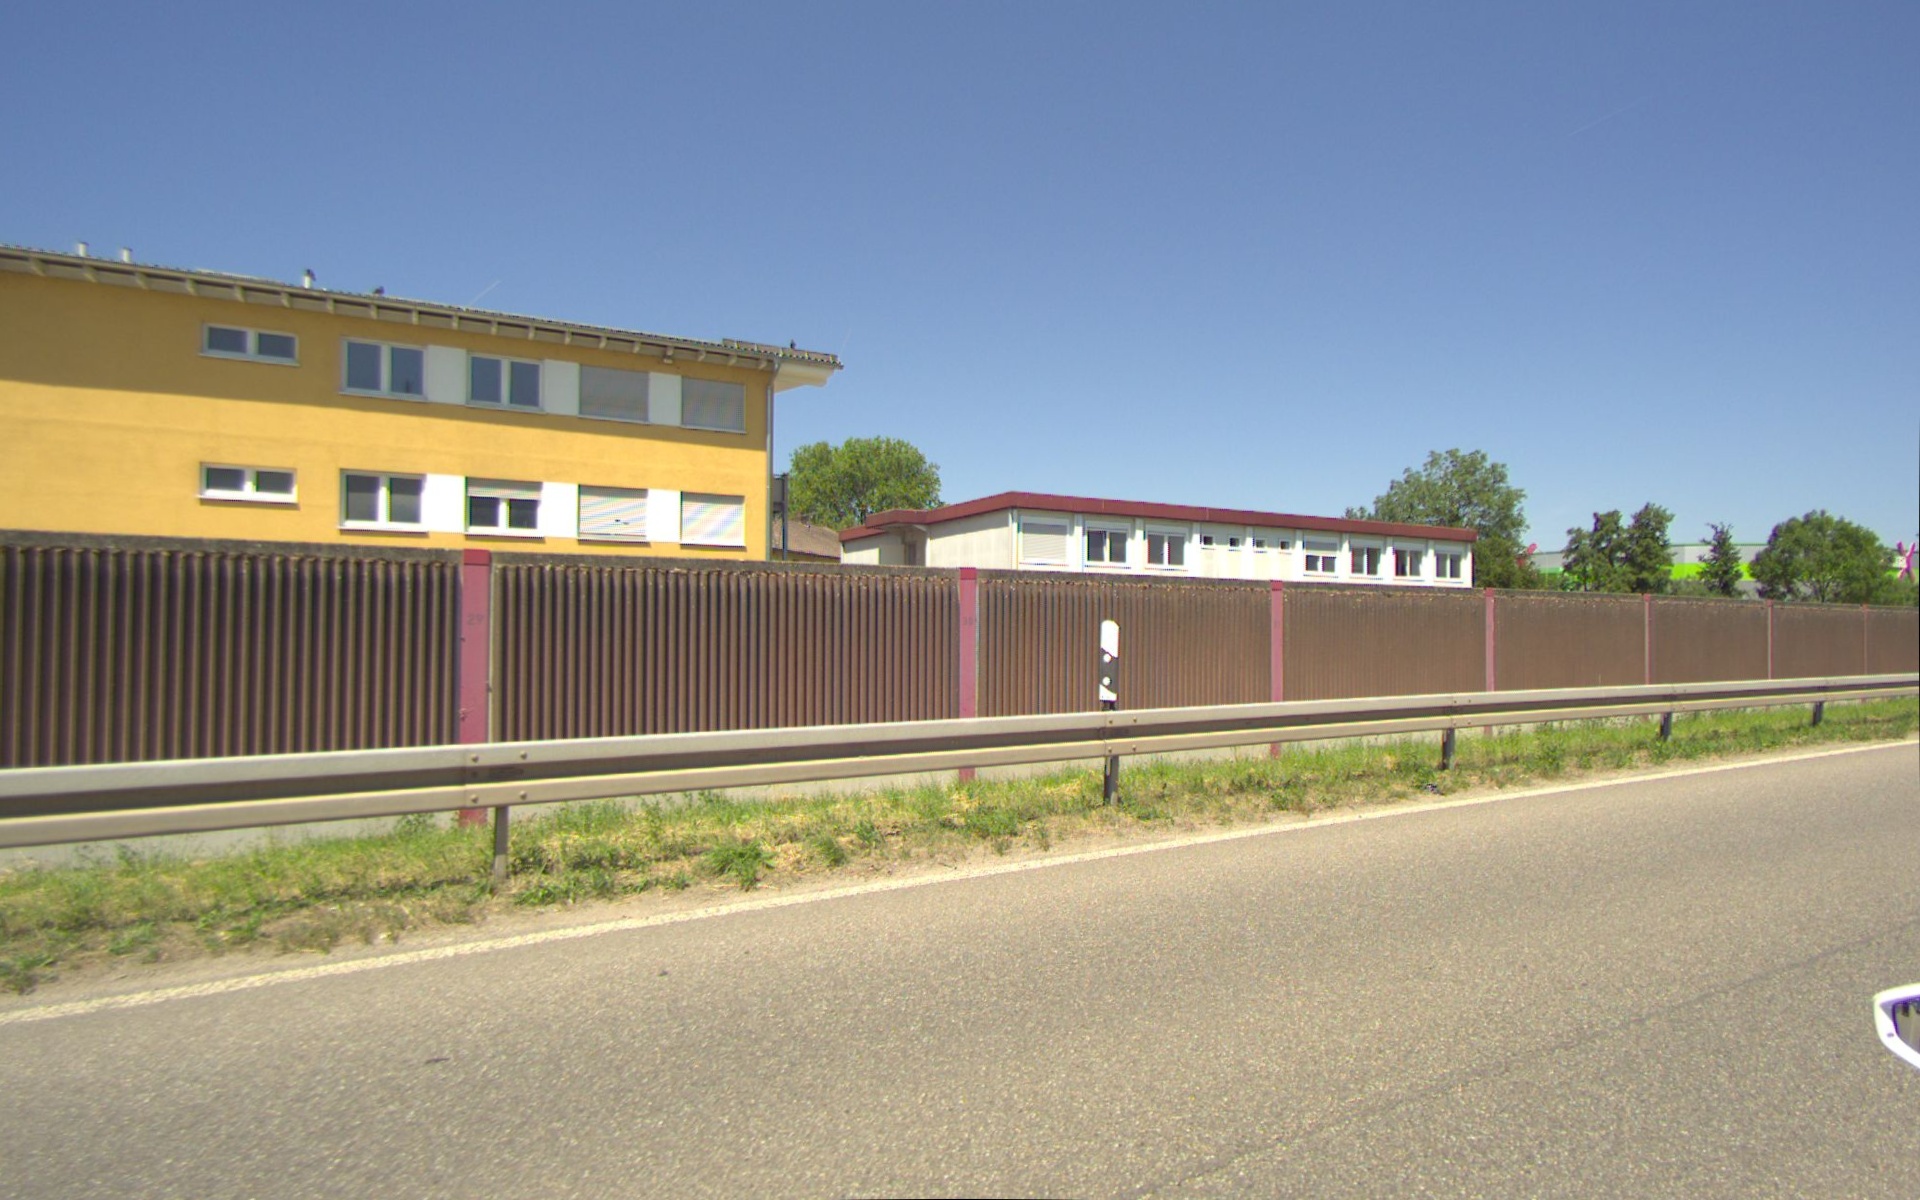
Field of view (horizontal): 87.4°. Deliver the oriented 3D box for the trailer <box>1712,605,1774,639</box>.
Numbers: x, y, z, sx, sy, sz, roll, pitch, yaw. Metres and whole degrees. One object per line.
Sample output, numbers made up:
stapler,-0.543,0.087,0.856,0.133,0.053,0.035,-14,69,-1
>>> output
trailer,66.844,1.875,85.804,3.683,2.801,1.827,1,0,16
